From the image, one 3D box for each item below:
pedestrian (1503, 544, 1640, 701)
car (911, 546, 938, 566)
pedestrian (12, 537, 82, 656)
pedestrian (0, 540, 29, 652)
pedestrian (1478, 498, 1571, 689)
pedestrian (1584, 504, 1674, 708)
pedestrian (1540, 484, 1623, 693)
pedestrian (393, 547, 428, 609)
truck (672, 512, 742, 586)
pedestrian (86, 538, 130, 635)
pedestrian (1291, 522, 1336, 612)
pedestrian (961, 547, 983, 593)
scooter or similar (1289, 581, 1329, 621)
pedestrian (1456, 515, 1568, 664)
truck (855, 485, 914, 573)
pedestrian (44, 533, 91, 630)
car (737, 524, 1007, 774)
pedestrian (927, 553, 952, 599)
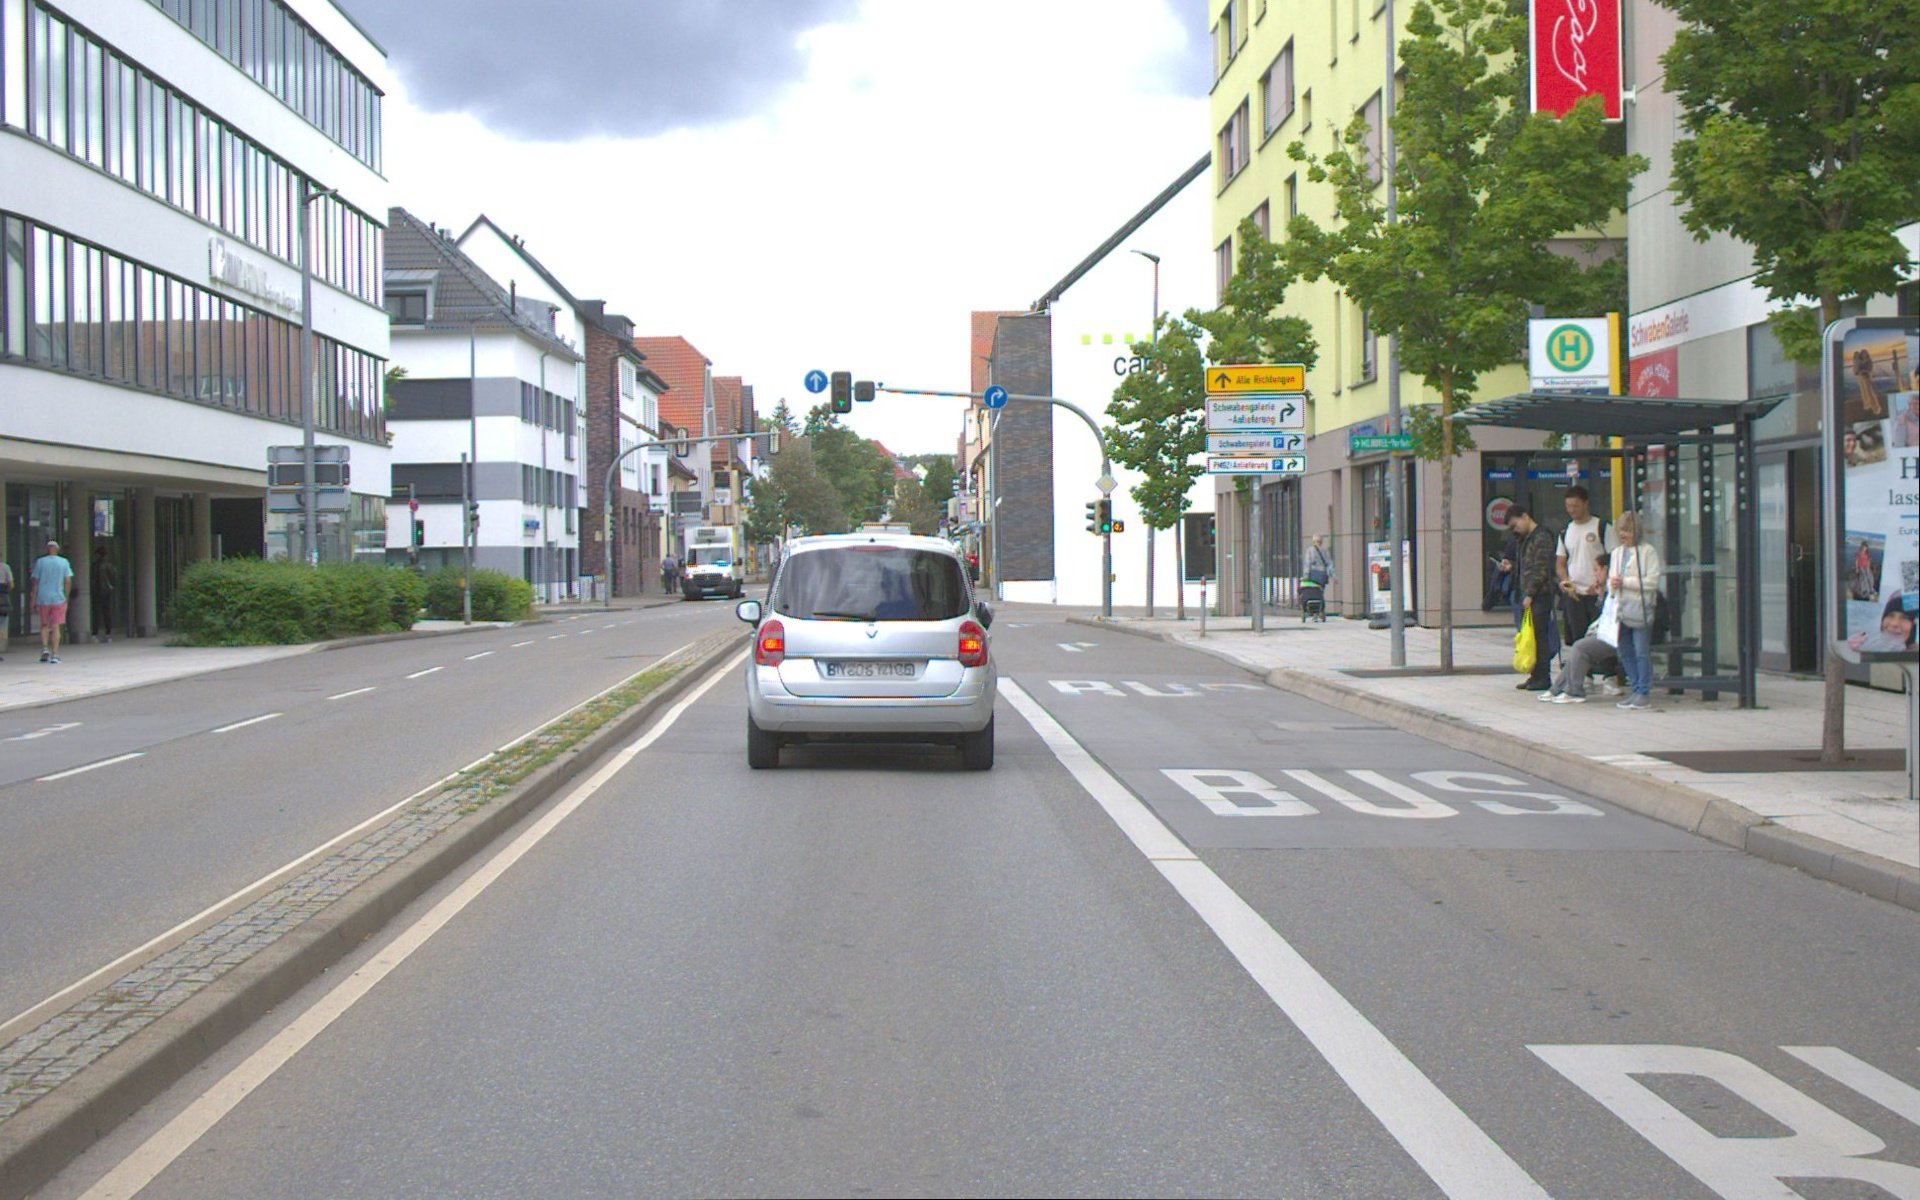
[{"bbox_3d":[5.070,0.179,28.533,0.942,1.255,0.733,-2,1,-4],"label":"pedestrian"},{"bbox_3d":[-2.493,-3.075,240.576,1.812,1.349,4.000,-1,1,0],"label":"car"},{"bbox_3d":[-13.039,-0.053,49.099,0.730,1.668,0.931,1,1,1],"label":"pedestrian"},{"bbox_3d":[-14.042,-0.064,50.011,0.730,1.607,0.931,1,1,1],"label":"pedestrian"},{"bbox_3d":[5.076,-0.061,30.936,0.721,1.678,0.732,-1,1,4],"label":"pedestrian"},{"bbox_3d":[5.306,0.044,27.286,0.579,1.585,0.732,-1,1,4],"label":"pedestrian"},{"bbox_3d":[5.369,-0.102,29.742,0.579,1.763,0.856,-1,1,4],"label":"pedestrian"},{"bbox_3d":[-15.122,-0.608,94.607,0.881,1.664,0.814,-1,3,-5],"label":"pedestrian"},{"bbox_3d":[-10.295,-2.078,140.517,2.435,2.943,8.365,0,1,-1],"label":"truck"},{"bbox_3d":[-15.135,-0.242,61.087,0.613,1.704,0.506,-1,1,-31],"label":"pedestrian"},{"bbox_3d":[6.353,-0.591,61.836,0.695,1.588,0.603,-2,1,-2],"label":"pedestrian"},{"bbox_3d":[0.476,-1.206,137.103,0.807,1.781,0.861,-3,1,0],"label":"pedestrian"},{"bbox_3d":[6.203,0.019,61.125,0.592,0.670,0.824,-2,1,-2],"label":"scooter or similar"},{"bbox_3d":[5.986,-0.121,37.330,0.947,1.578,1.016,-1,1,-6],"label":"pedestrian"},{"bbox_3d":[-3.356,-3.202,155.001,2.595,3.844,6.849,0,1,-1],"label":"truck"},{"bbox_3d":[-15.965,-0.326,61.495,0.505,1.724,0.614,0,1,30],"label":"pedestrian"},{"bbox_3d":[-0.616,0.286,24.216,1.706,1.573,4.000,1,1,-1],"label":"car"},{"bbox_3d":[-0.801,-0.948,135.119,0.889,1.781,0.785,-3,1,0],"label":"pedestrian"}]
